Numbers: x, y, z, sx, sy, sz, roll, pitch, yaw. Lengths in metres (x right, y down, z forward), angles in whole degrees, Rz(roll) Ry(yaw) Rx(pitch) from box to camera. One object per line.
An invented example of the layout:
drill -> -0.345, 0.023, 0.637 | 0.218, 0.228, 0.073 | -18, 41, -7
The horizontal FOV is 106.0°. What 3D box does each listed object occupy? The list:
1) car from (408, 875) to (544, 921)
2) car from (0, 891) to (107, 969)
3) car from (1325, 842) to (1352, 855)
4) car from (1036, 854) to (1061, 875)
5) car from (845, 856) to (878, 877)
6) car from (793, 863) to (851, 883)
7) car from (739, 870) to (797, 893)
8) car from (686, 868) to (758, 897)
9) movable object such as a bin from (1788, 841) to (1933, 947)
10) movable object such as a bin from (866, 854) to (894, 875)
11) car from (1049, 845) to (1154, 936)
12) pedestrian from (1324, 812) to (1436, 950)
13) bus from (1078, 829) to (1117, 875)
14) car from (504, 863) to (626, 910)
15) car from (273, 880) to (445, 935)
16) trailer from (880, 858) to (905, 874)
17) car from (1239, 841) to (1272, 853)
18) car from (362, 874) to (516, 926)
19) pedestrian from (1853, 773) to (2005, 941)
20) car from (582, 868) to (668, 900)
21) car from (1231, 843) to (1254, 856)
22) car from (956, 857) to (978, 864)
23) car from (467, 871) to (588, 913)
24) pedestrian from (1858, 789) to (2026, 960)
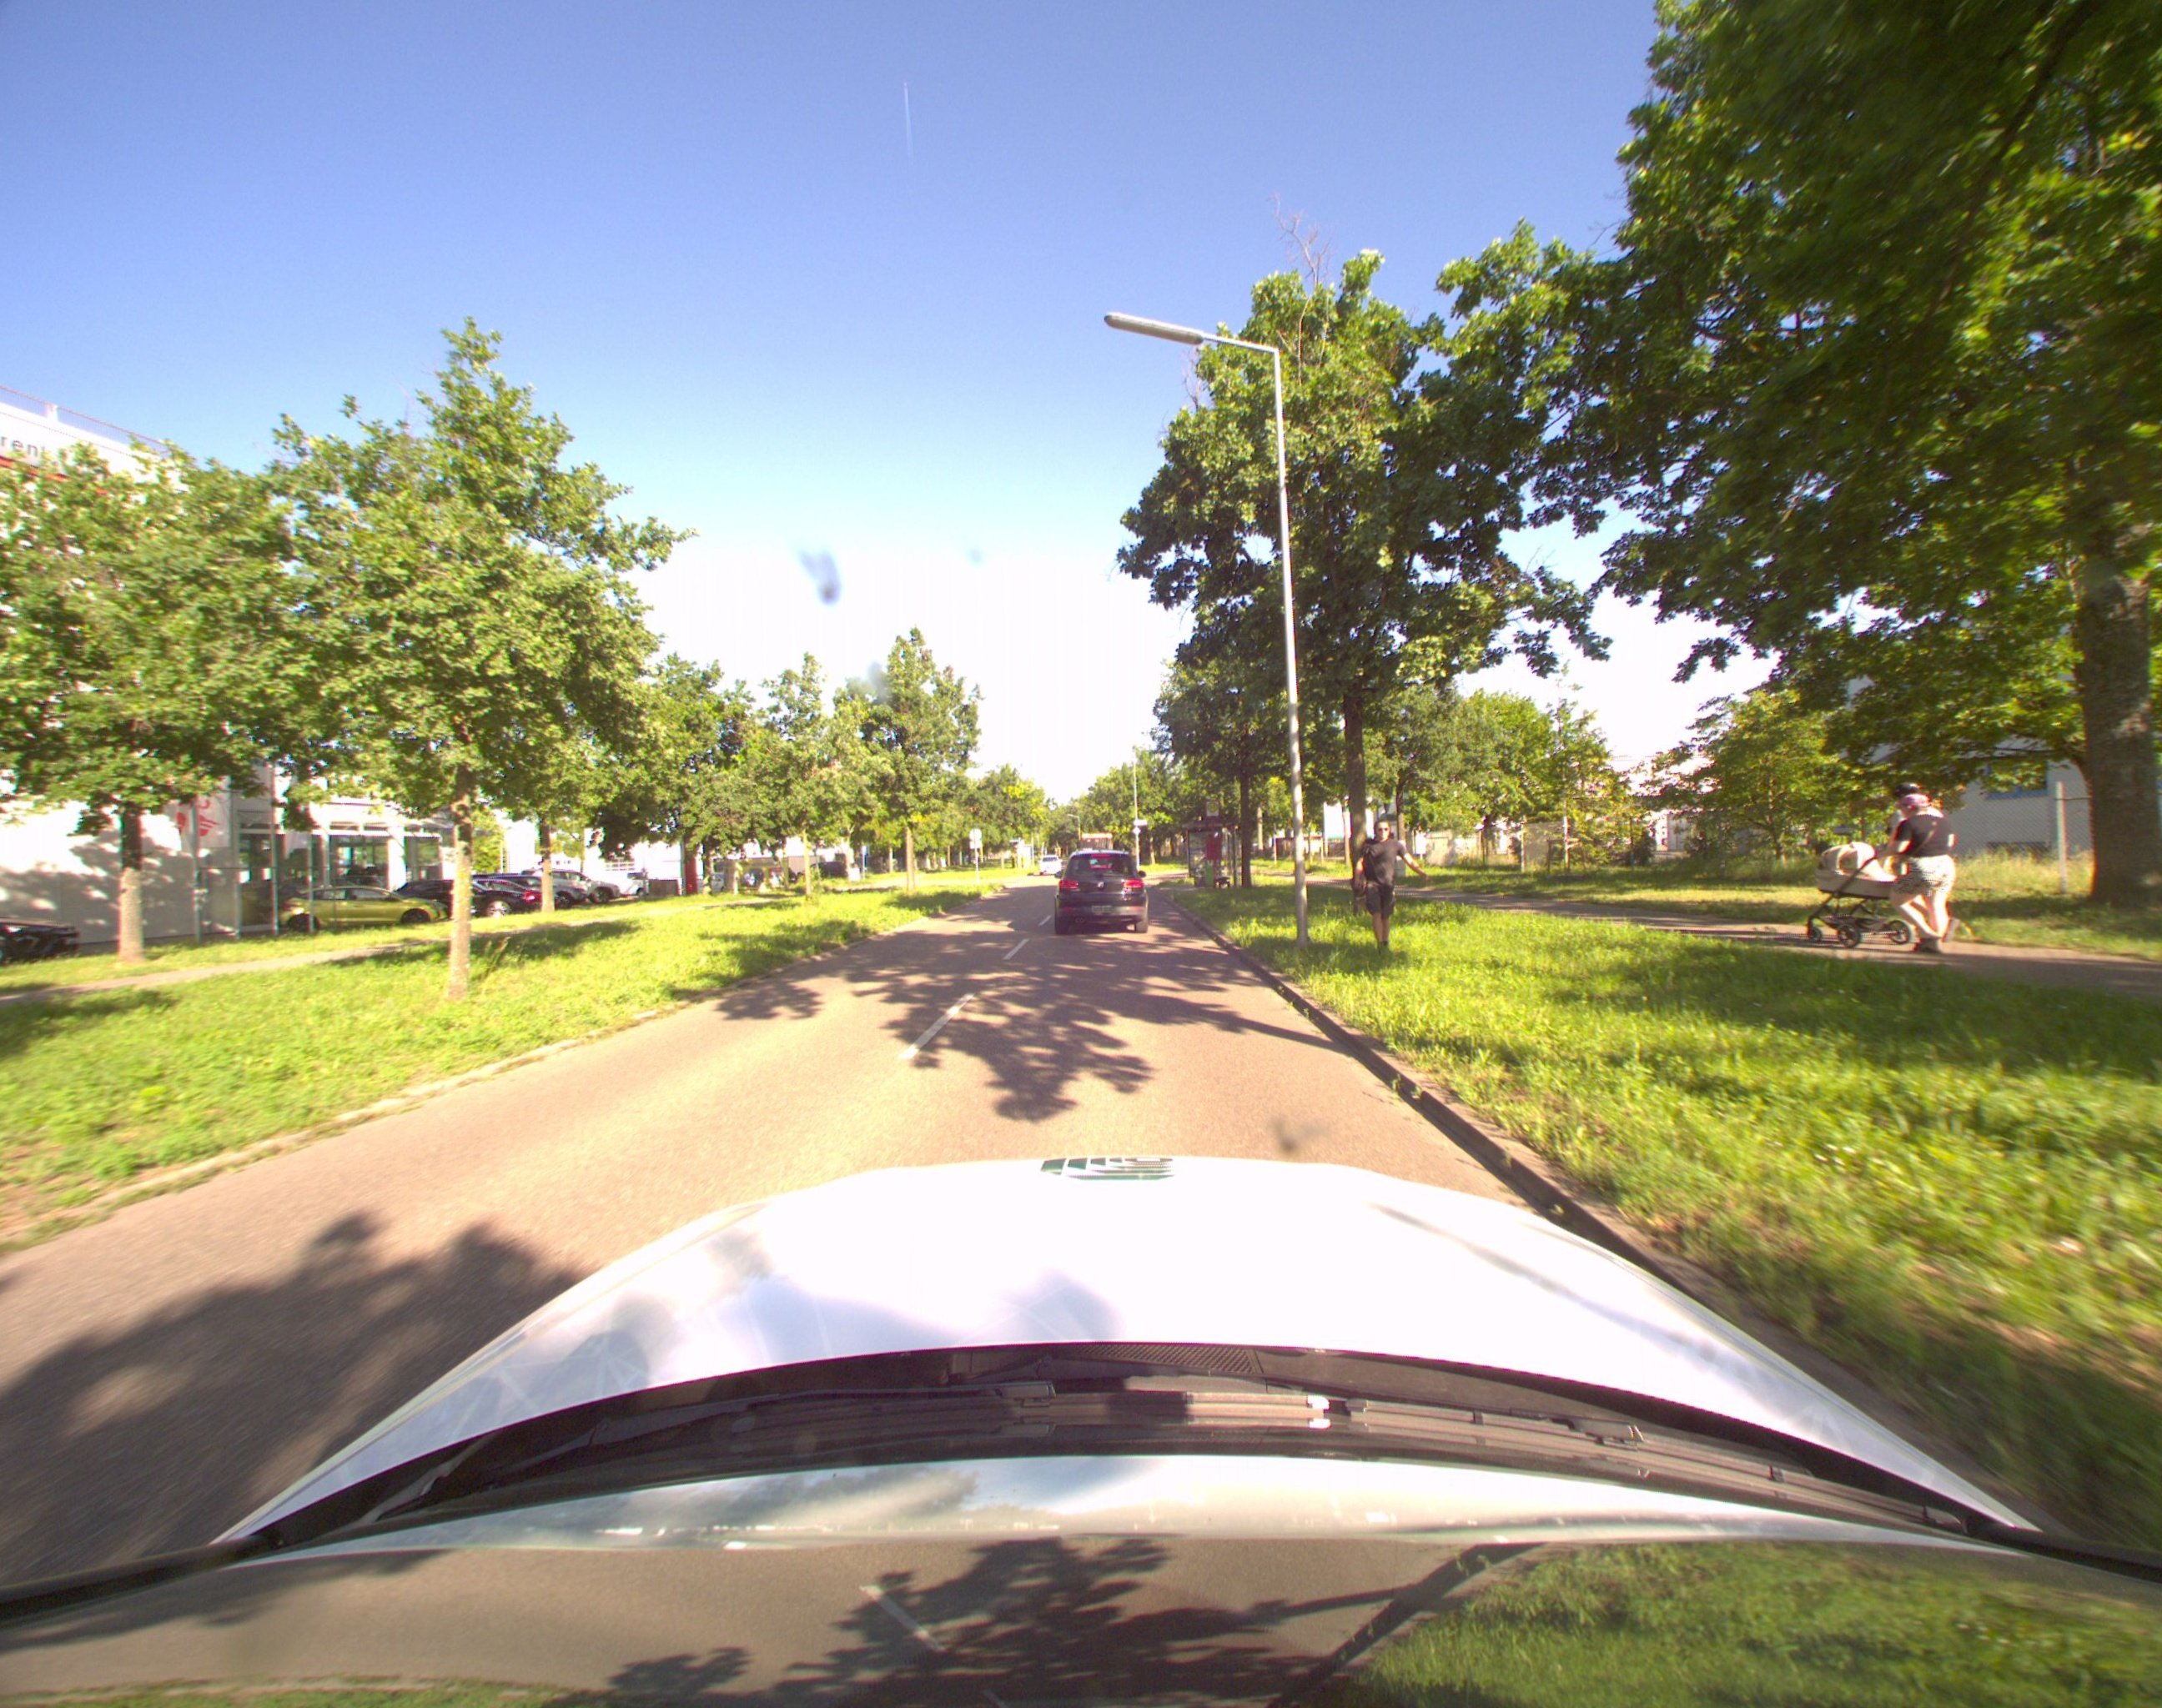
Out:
car -> -23.960, 1.704, 32.379 | 4.190, 1.491, 1.977 | -3, 0, -37
car -> -23.991, 1.682, 17.162 | 4.009, 1.511, 1.785 | -3, 1, -28
car -> 30.214, -0.658, 95.786 | 1.761, 1.383, 3.763 | -2, 0, -3
car -> -2.433, 0.766, 62.445 | 1.739, 1.465, 4.425 | -3, 0, -1
car -> -23.605, 1.314, 87.702 | 2.030, 1.988, 5.803 | -3, 0, -1
car -> -22.804, 1.672, 71.835 | 4.488, 1.479, 1.940 | -3, 0, -1
car -> -23.534, 2.055, 61.297 | 3.641, 1.532, 1.830 | -2, 0, 15
car -> -22.855, 1.815, 51.939 | 3.714, 1.618, 1.972 | -2, 0, 15
movable object such as a bin -> 8.680, 0.425, 9.111 | 0.723, 1.081, 0.868 | -4, 0, 2
movable object such as a bin -> -23.156, 1.188, 94.005 | 2.095, 2.217, 4.460 | -2, 0, 0
car -> 0.462, 0.663, 17.409 | 1.928, 1.656, 4.429 | -1, 0, 2
pedestrian -> 3.854, 0.333, 10.596 | 1.015, 1.651, 1.100 | -2, 0, 1
bus -> 1.259, -0.169, 69.589 | 2.756, 3.456, 11.205 | -2, 0, -1
car -> -25.861, 1.592, 40.909 | 4.884, 2.013, 1.976 | -3, 0, -40
car -> -23.005, 1.647, 26.148 | 3.974, 1.401, 1.976 | -3, 0, -40
trailer -> -23.347, 1.462, 101.136 | 2.095, 1.914, 3.740 | -2, 0, 0
car -> 28.048, -1.063, 130.891 | 4.623, 1.744, 2.185 | -2, 0, -8
car -> -23.006, 1.607, 29.312 | 4.192, 1.538, 1.874 | -3, 0, -40
pedestrian -> 9.422, 0.033, 9.085 | 0.723, 1.755, 0.868 | -2, 0, 2
car -> -29.923, 1.960, 53.481 | 4.970, 1.906, 1.950 | -2, 0, 17
car -> 23.173, -0.701, 117.205 | 2.179, 1.744, 4.636 | -2, 0, -3
car -> -23.613, 1.363, 168.249 | 4.180, 1.321, 1.943 | -2, 0, 3
car -> -24.247, 1.640, 35.877 | 4.183, 1.562, 1.981 | -3, 0, -30
pedestrian -> 8.630, 0.191, 8.208 | 0.723, 1.603, 0.868 | -2, 0, 2
